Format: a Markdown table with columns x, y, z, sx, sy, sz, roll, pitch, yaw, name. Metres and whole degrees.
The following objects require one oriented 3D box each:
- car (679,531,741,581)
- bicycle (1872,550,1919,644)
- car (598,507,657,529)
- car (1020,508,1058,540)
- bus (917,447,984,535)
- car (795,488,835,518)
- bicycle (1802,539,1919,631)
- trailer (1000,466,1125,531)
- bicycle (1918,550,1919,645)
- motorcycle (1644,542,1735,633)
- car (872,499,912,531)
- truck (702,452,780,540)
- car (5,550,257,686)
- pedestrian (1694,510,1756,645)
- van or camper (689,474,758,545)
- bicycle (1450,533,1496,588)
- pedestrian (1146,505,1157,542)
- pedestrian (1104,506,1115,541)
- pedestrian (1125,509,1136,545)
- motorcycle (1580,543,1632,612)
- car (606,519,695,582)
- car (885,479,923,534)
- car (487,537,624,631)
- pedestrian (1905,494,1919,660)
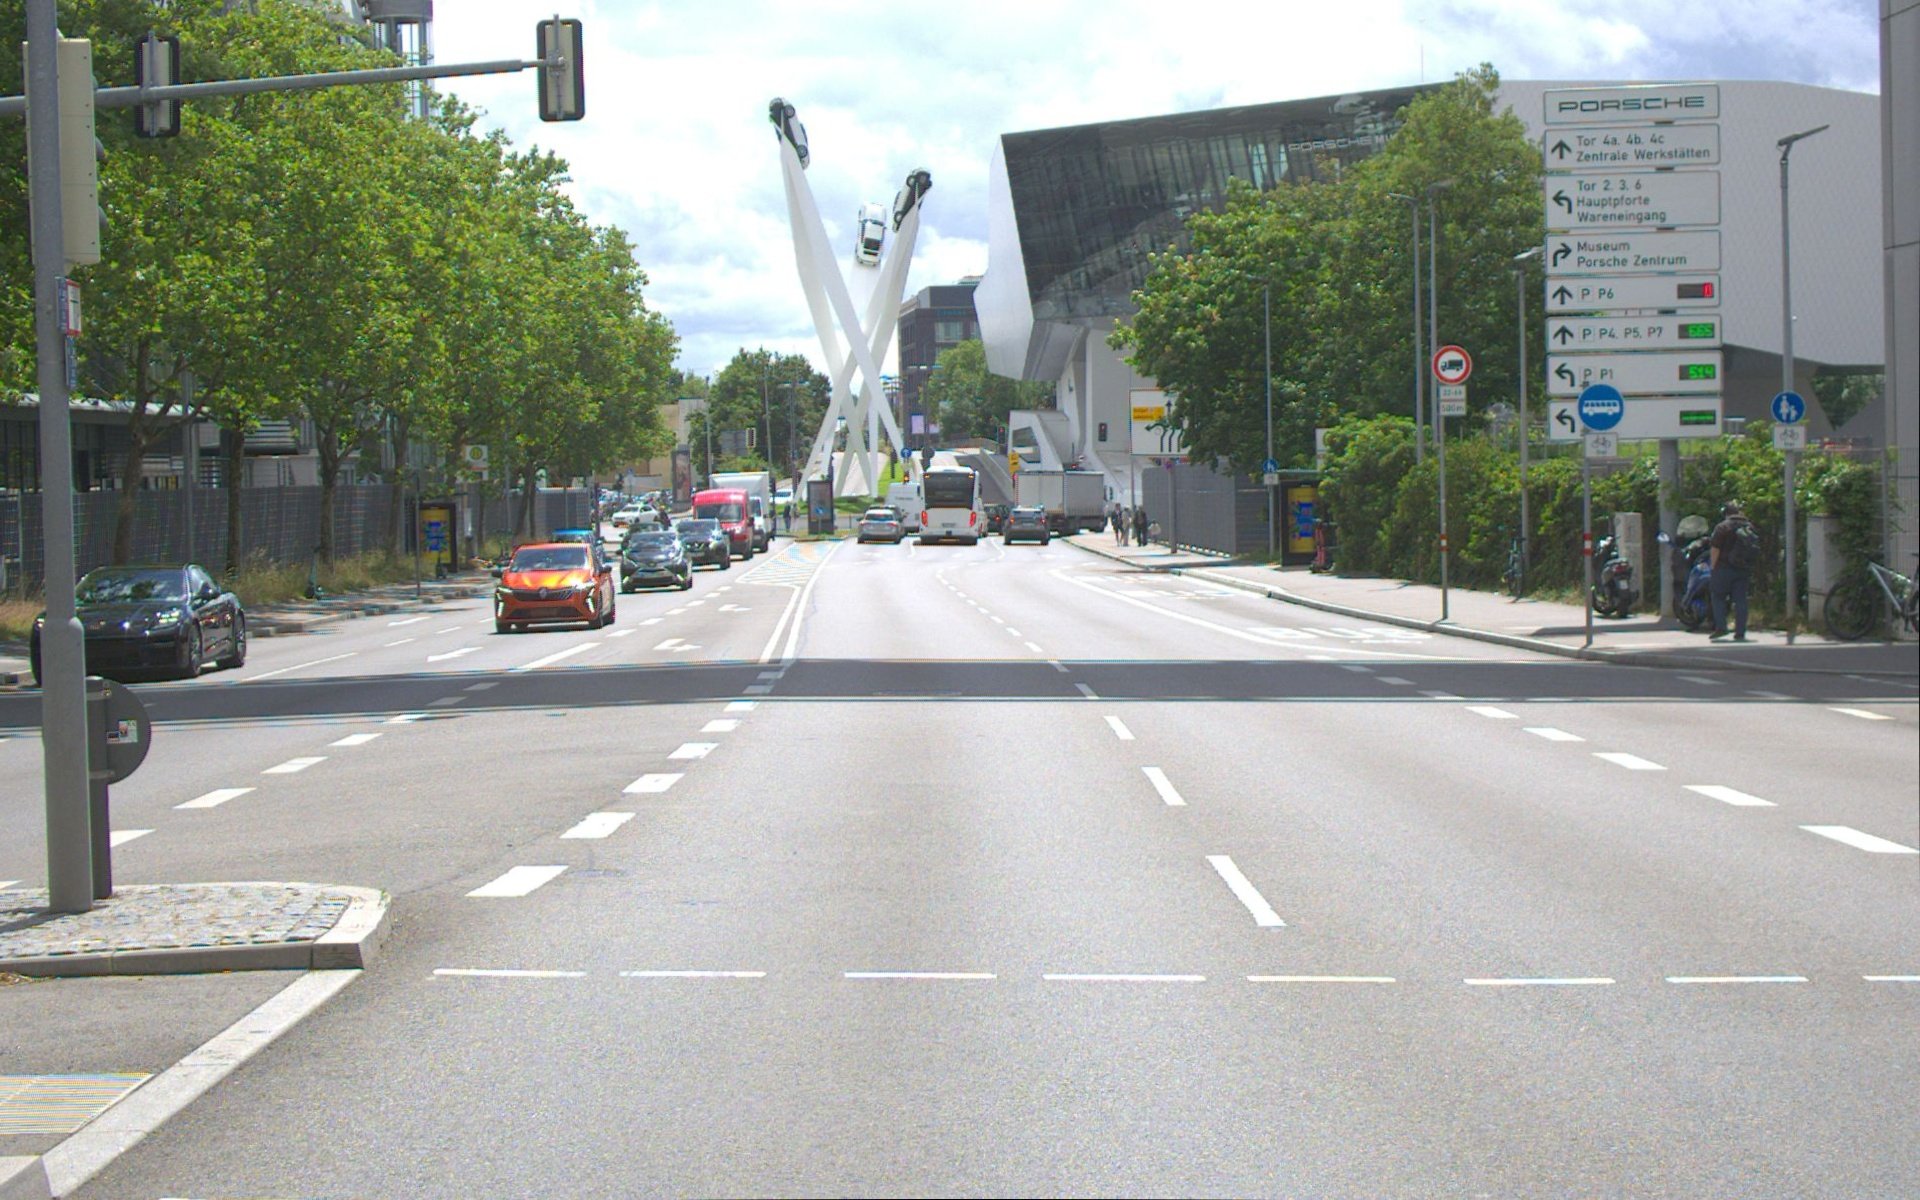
| x | y | z | sx | sy | sz | roll | pitch | yaw | name |
| --- | --- | --- | --- | --- | --- | --- | --- | --- | --- |
| -7.748 | -1.389 | 106.786 | 1.557 | 1.443 | 3.773 | -3 | 1 | 0 | car |
| 11.659 | -0.022 | 39.541 | 2.222 | 1.083 | 0.476 | 1 | 1 | 35 | bicycle |
| -21.971 | -5.401 | 227.275 | 1.561 | 1.269 | 3.692 | -1 | 2 | 44 | car |
| 3.341 | -3.221 | 146.168 | 1.557 | 1.269 | 3.701 | -3 | 1 | 1 | car |
| -0.399 | -4.722 | 150.087 | 2.787 | 3.673 | 6.943 | 1 | 1 | 0 | bus |
| -6.558 | -4.397 | 155.625 | 1.557 | 1.269 | 3.701 | -3 | 1 | 0 | car |
| 11.167 | -0.179 | 40.871 | 2.222 | 1.083 | 0.476 | 1 | 1 | 35 | bicycle |
| 5.195 | -5.050 | 172.187 | 3.322 | 2.984 | 10.366 | 1 | 1 | 19 | trailer |
| 11.940 | -0.009 | 38.681 | 2.191 | 1.083 | 0.476 | 1 | 1 | 35 | bicycle |
| 9.543 | -0.168 | 45.025 | 0.418 | 1.162 | 1.957 | 1 | 1 | -11 | motorcycle |
| -2.919 | -3.679 | 148.677 | 1.557 | 1.269 | 3.701 | -3 | 1 | 1 | car |
| -8.652 | -4.087 | 136.387 | 2.591 | 3.312 | 7.079 | 1 | 1 | 0 | truck |
| -10.261 | 0.180 | 42.918 | 1.917 | 1.483 | 4.772 | -3 | 1 | 0 | car |
| 9.322 | -0.276 | 41.898 | 0.533 | 1.635 | 0.658 | 1 | 0 | -6 | pedestrian |
| -8.344 | -3.206 | 121.851 | 2.047 | 2.458 | 5.595 | 0 | 1 | 0 | van or camper |
| 9.736 | -0.744 | 65.266 | 0.418 | 1.019 | 1.913 | 1 | 1 | -5 | bicycle |
| 7.510 | -3.008 | 135.133 | 0.386 | 1.416 | 0.423 | 1 | 0 | 0 | pedestrian |
| 5.972 | -3.051 | 137.192 | 0.386 | 1.416 | 0.423 | 1 | 0 | 0 | pedestrian |
| 6.764 | -2.903 | 136.124 | 0.386 | 1.416 | 0.423 | 1 | 0 | 0 | pedestrian |
| 9.763 | -0.347 | 52.008 | 0.457 | 1.019 | 1.912 | 1 | 1 | 1 | motorcycle |
| -7.541 | -1.219 | 83.984 | 1.769 | 1.415 | 3.701 | -3 | 1 | 0 | car |
| -2.807 | -4.640 | 171.119 | 1.843 | 2.614 | 4.000 | 1 | 1 | -1 | car |
| -6.703 | -0.292 | 57.264 | 1.769 | 1.415 | 3.701 | -3 | 1 | 0 | car |
| 10.754 | -0.265 | 37.162 | 0.641 | 1.787 | 0.712 | -4 | 2 | -30 | pedestrian |
